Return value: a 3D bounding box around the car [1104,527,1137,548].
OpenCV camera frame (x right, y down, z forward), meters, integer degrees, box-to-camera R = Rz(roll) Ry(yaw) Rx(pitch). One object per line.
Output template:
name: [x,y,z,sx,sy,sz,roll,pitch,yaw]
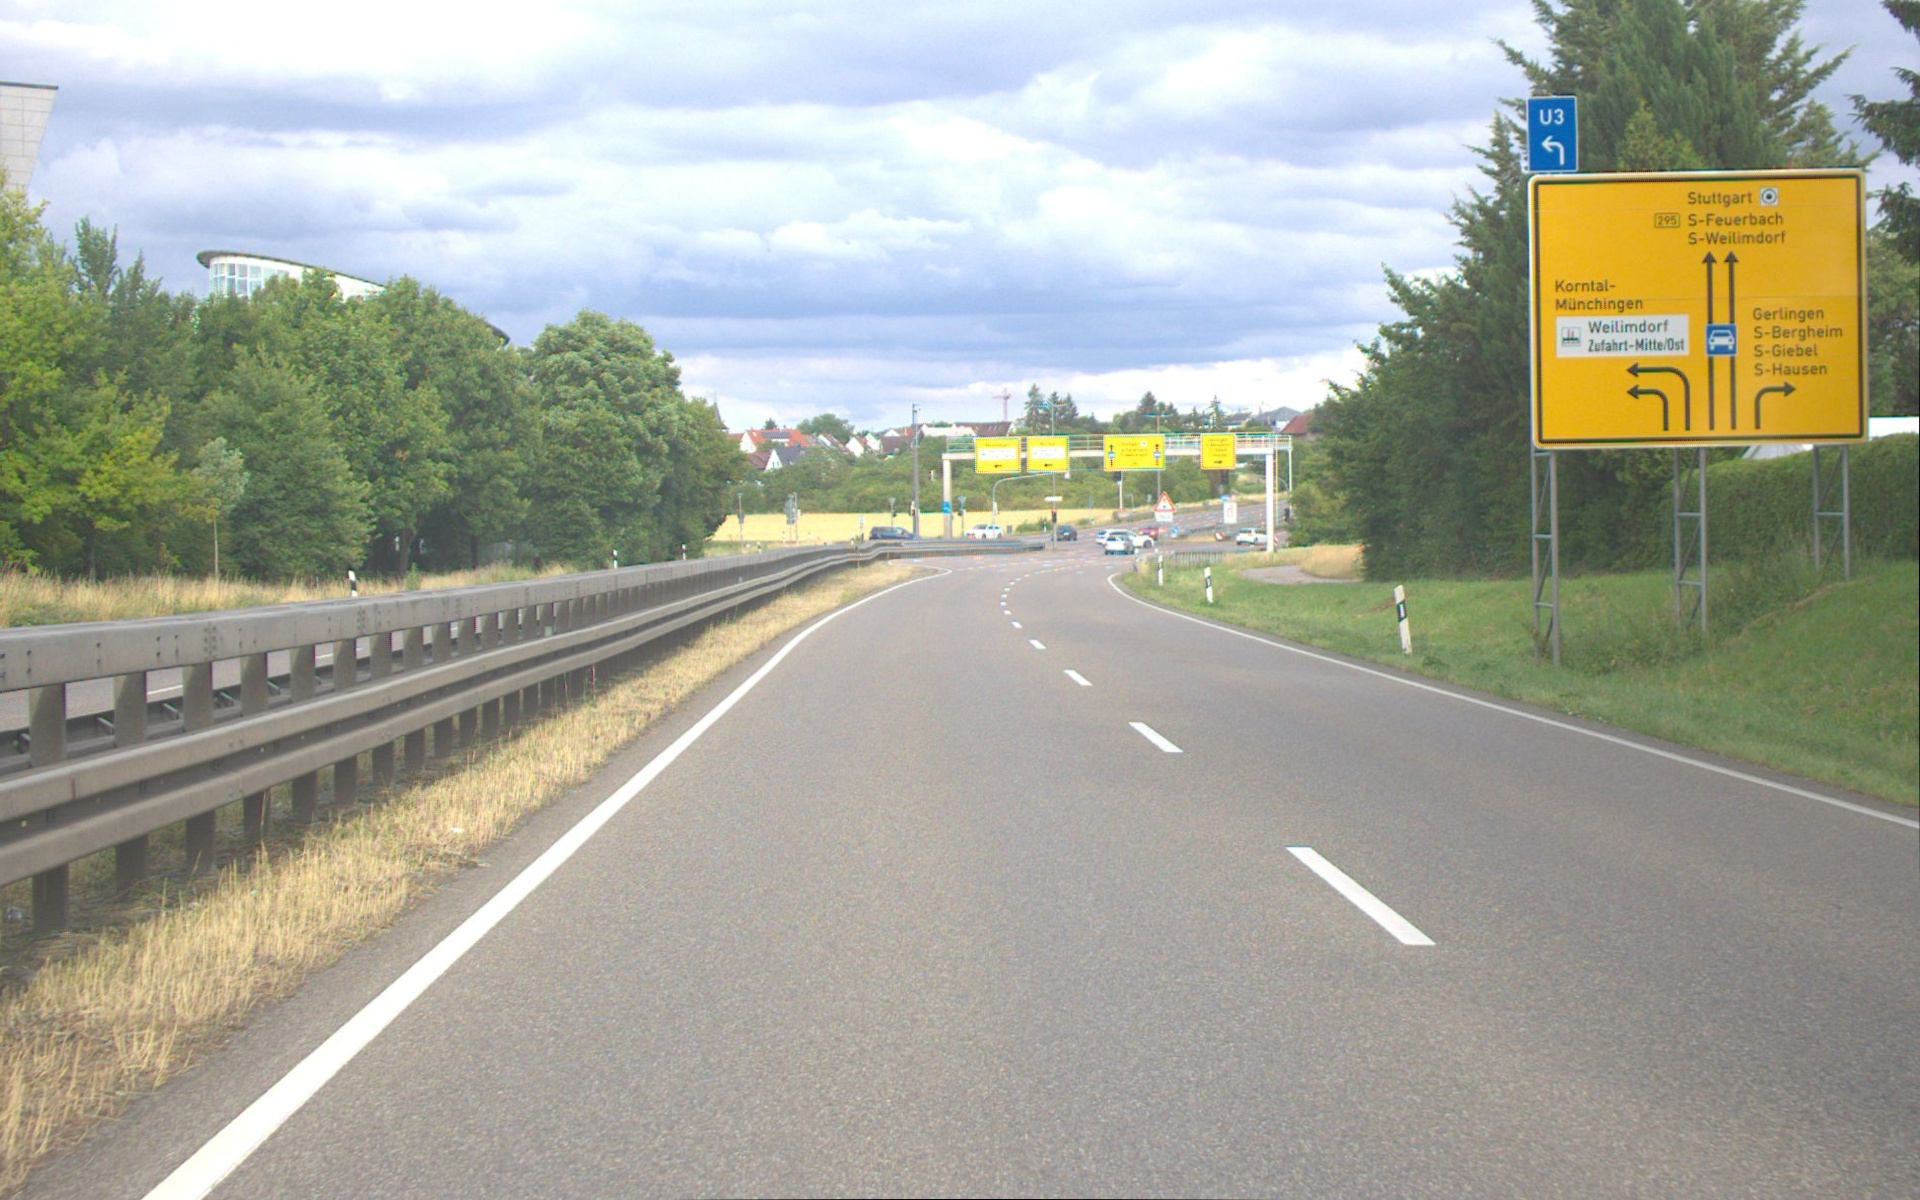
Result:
car: [12.061,-4.685,258.100,1.799,1.551,3.998,0,1,13]
